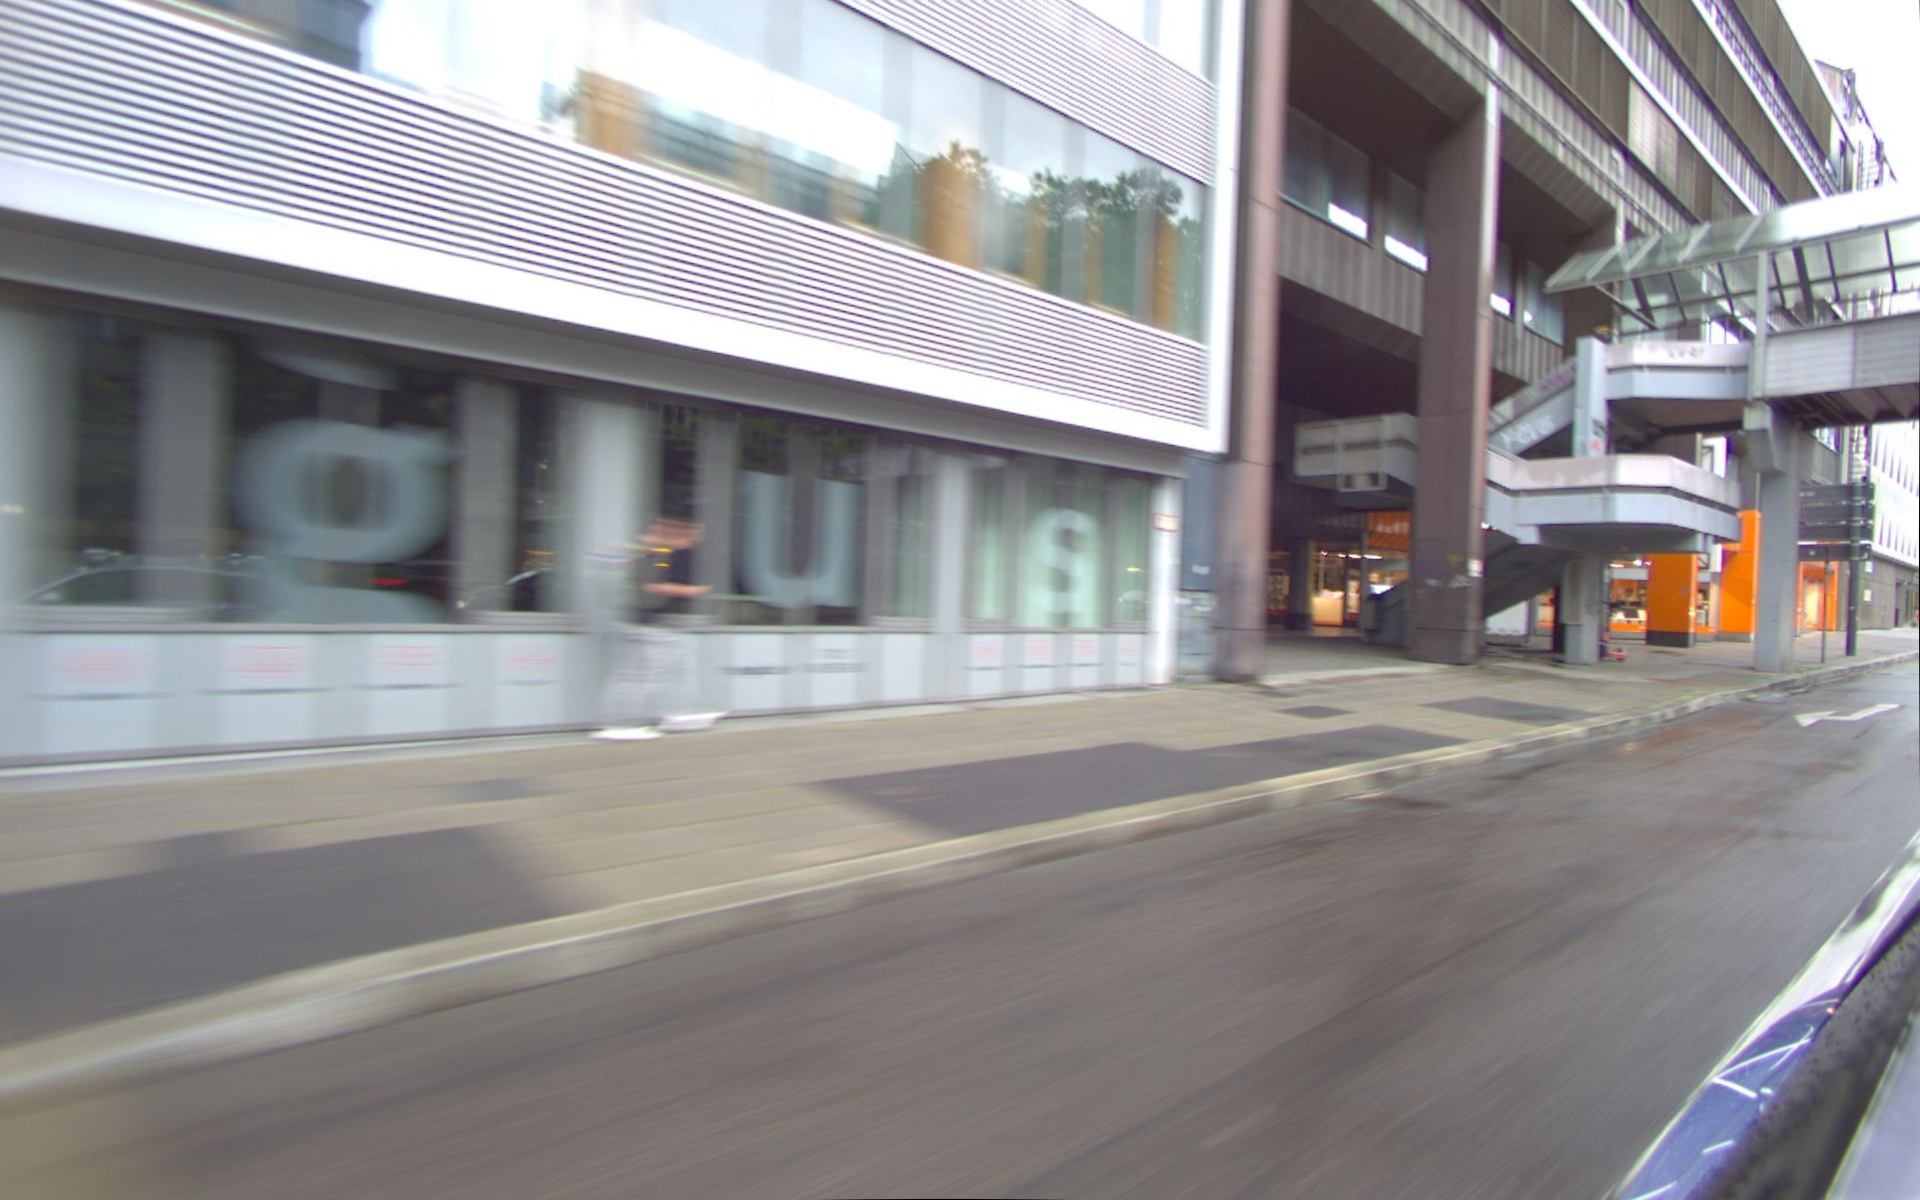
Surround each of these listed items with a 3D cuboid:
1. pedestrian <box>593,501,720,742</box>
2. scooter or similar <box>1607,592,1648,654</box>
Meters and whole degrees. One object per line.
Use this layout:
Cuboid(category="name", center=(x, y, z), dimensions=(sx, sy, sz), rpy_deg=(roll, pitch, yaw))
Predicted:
Cuboid(category="pedestrian", center=(-2.412, 0.148, 8.043), dimensions=(0.776, 1.794, 0.637), rpy_deg=(0, 1, -40))
Cuboid(category="scooter or similar", center=(14.128, 0.476, 21.404), dimensions=(1.370, 1.271, 0.350), rpy_deg=(0, 0, -41))
